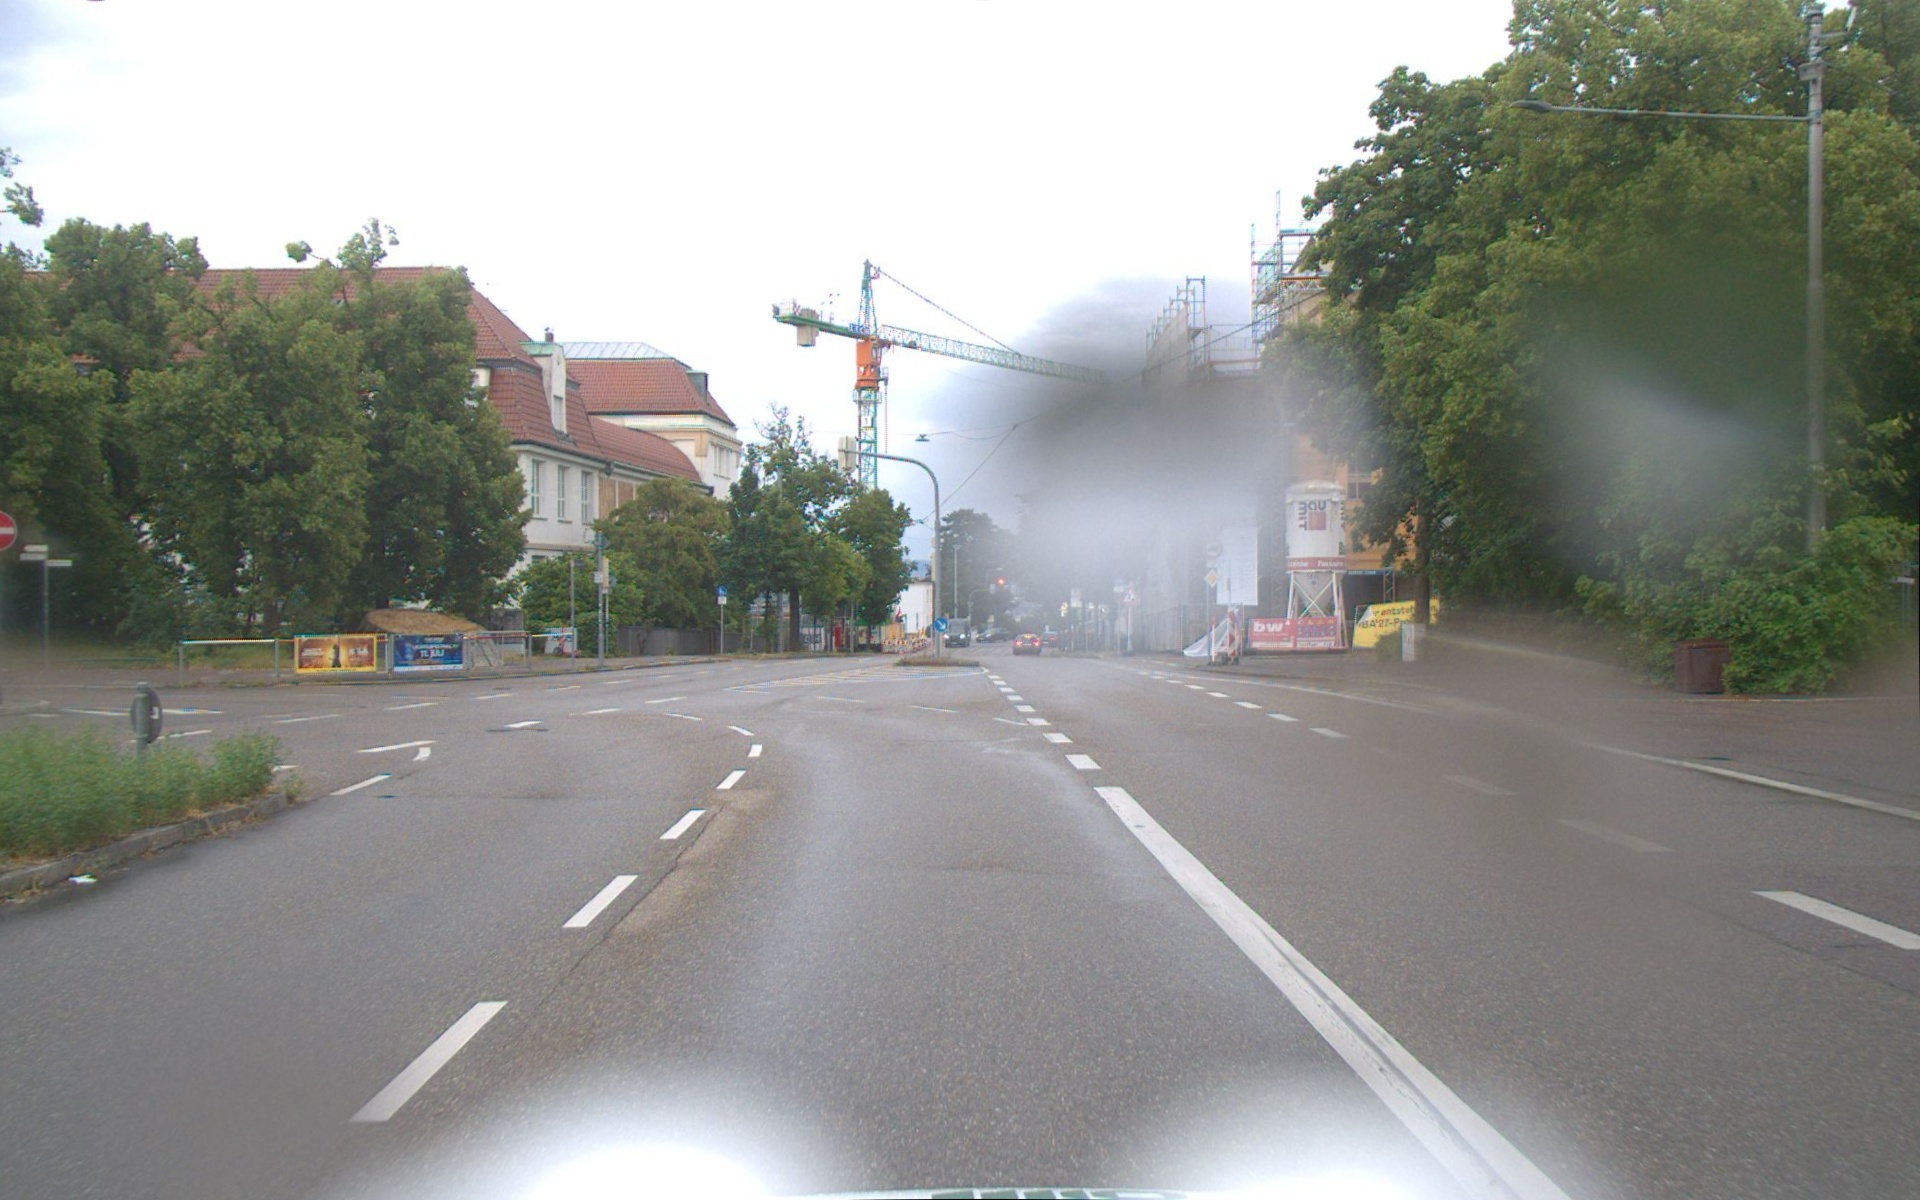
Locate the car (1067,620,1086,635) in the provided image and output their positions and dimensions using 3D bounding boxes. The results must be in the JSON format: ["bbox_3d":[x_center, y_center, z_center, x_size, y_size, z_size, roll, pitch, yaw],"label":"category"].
[{"bbox_3d":[14.995,3.569,212.904,1.951,1.780,4.003,-1,0,10],"label":"car"}]

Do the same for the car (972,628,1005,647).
[{"bbox_3d":[2.935,3.852,170.755,1.954,1.915,3.997,-1,0,25],"label":"car"}]

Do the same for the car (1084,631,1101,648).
[{"bbox_3d":[14.224,4.195,177.181,1.562,1.753,3.907,-1,0,9],"label":"car"}]

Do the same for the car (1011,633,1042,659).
[{"bbox_3d":[4.749,3.289,118.538,1.953,1.780,3.999,-1,0,-1],"label":"car"}]

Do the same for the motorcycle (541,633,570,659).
[{"bbox_3d":[-14.206,1.610,58.109,0.832,0.893,0.877,1,-1,-1],"label":"motorcycle"}]

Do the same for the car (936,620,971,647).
[{"bbox_3d":[-0.605,3.189,157.430,2.788,2.445,6.191,1,0,5],"label":"car"}]

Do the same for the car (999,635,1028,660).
[{"bbox_3d":[4.065,3.617,126.437,1.953,1.780,3.999,-1,0,-1],"label":"car"}]

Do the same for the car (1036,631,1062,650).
[{"bbox_3d":[8.785,3.941,162.390,1.951,1.780,4.003,-1,0,12],"label":"car"}]
